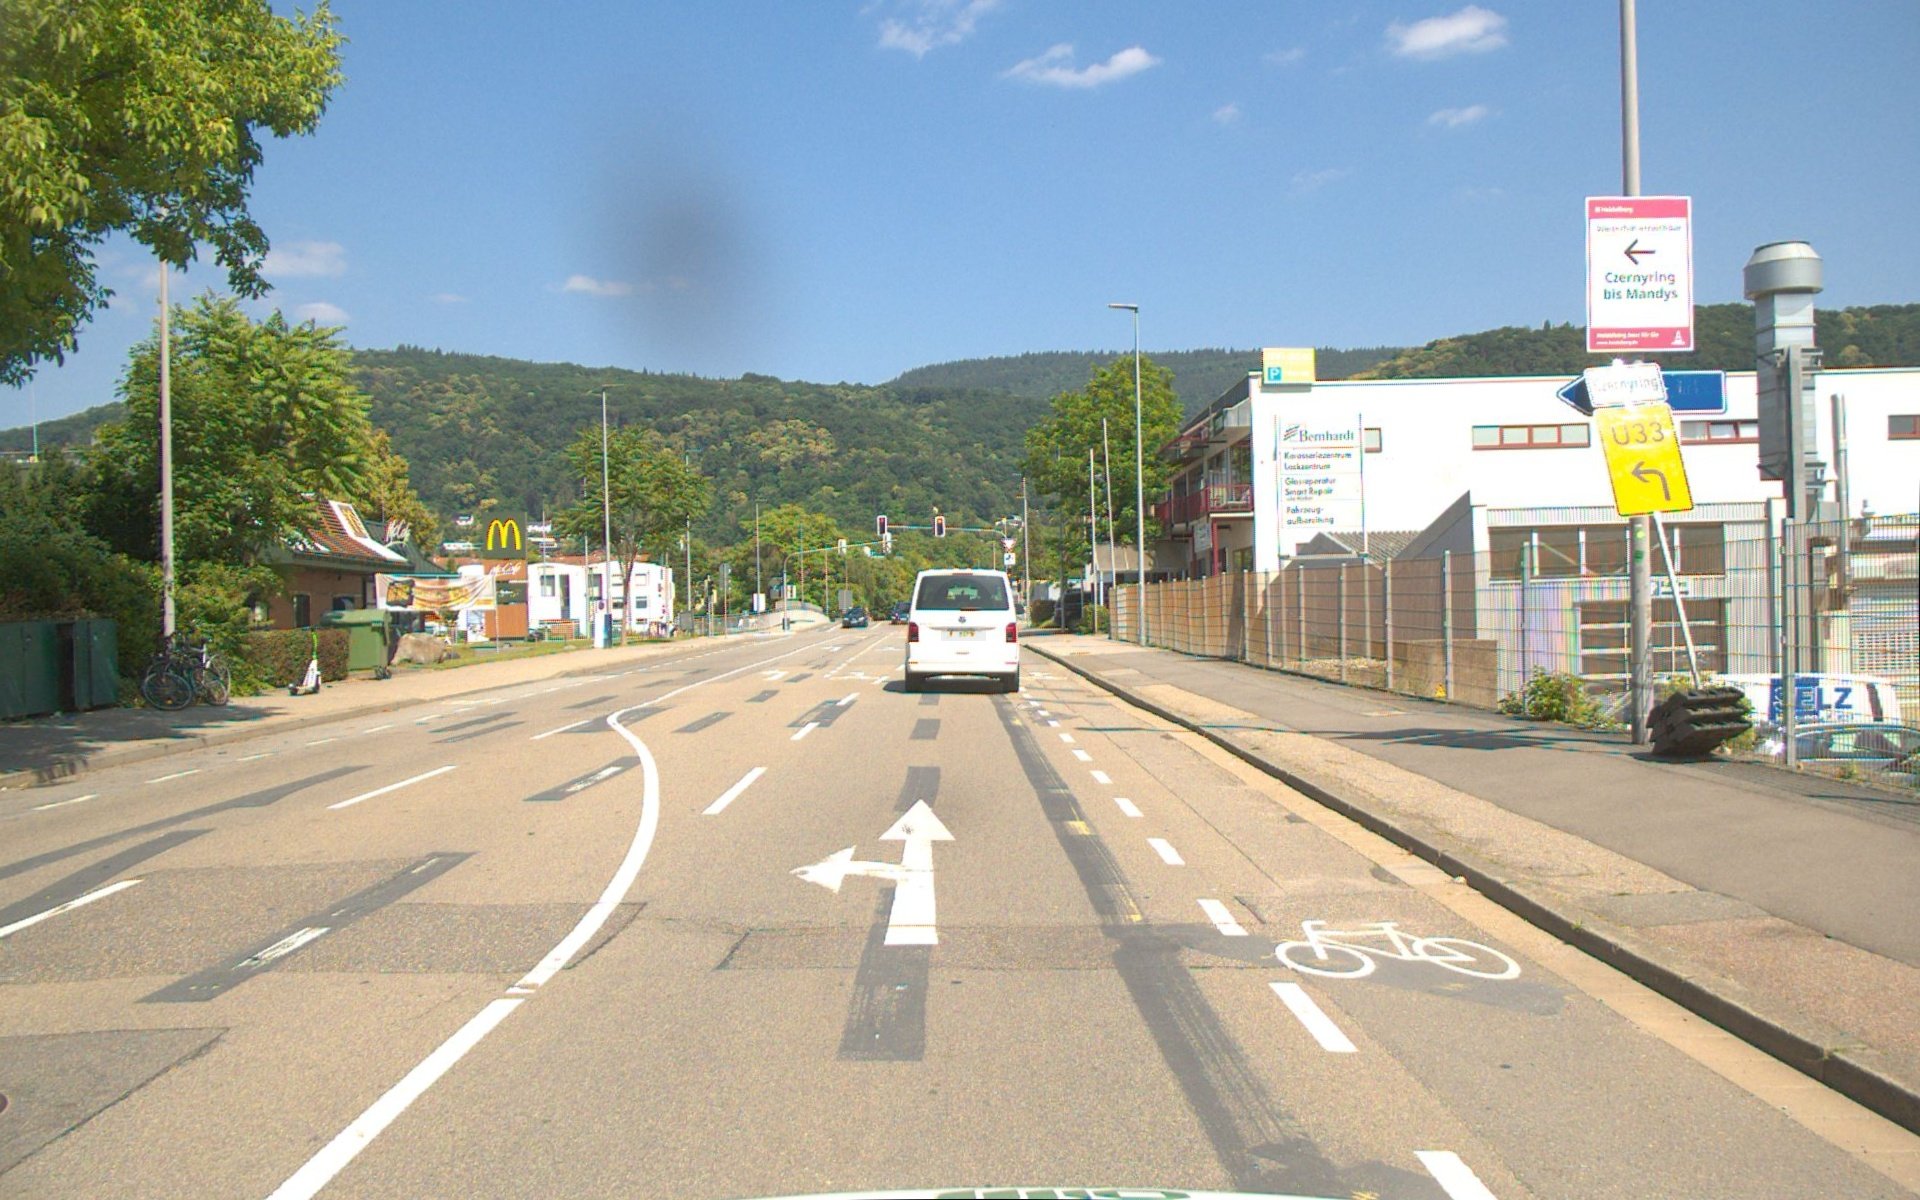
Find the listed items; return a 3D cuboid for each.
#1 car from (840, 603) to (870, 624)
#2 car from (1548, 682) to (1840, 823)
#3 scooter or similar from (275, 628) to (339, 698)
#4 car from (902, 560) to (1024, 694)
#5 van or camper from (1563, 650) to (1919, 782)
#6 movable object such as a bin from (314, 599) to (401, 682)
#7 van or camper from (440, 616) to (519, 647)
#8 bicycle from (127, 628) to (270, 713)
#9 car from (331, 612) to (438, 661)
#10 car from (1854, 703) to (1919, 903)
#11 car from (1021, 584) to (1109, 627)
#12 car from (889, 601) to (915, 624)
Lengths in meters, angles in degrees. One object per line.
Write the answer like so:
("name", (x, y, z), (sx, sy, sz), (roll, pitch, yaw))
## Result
("car", (-7.697, 1.002, 121.603), (1.953, 1.394, 4.325), (-2, 0, -2))
("car", (11.866, 2.451, 26.892), (3.907, 2.049, 1.851), (1, 0, -2))
("scooter or similar", (-11.366, 1.082, 28.830), (0.634, 1.147, 1.620), (1, 0, -7))
("car", (-0.031, 0.408, 28.266), (1.896, 2.095, 4.542), (0, 0, -2))
("van or camper", (11.232, 1.626, 23.963), (4.229, 1.680, 2.018), (-1, 0, -5))
("movable object such as a bin", (-12.538, 0.825, 34.475), (1.421, 1.618, 1.304), (-2, 0, -10))
("van or camper", (-25.579, 1.681, 88.012), (3.926, 1.601, 1.989), (1, 0, -19))
("bicycle", (-11.462, 1.037, 25.026), (1.006, 1.137, 2.764), (1, 0, -4))
("car", (-18.698, 1.159, 53.918), (1.952, 1.441, 4.130), (1, 0, 1))
("car", (12.214, 2.245, 17.989), (3.907, 2.049, 1.999), (1, 0, -2))
("car", (4.864, 0.242, 76.335), (3.903, 1.806, 2.001), (-2, 0, 5))
("car", (-4.399, 0.938, 125.248), (1.812, 1.616, 4.000), (-2, 0, -1))
